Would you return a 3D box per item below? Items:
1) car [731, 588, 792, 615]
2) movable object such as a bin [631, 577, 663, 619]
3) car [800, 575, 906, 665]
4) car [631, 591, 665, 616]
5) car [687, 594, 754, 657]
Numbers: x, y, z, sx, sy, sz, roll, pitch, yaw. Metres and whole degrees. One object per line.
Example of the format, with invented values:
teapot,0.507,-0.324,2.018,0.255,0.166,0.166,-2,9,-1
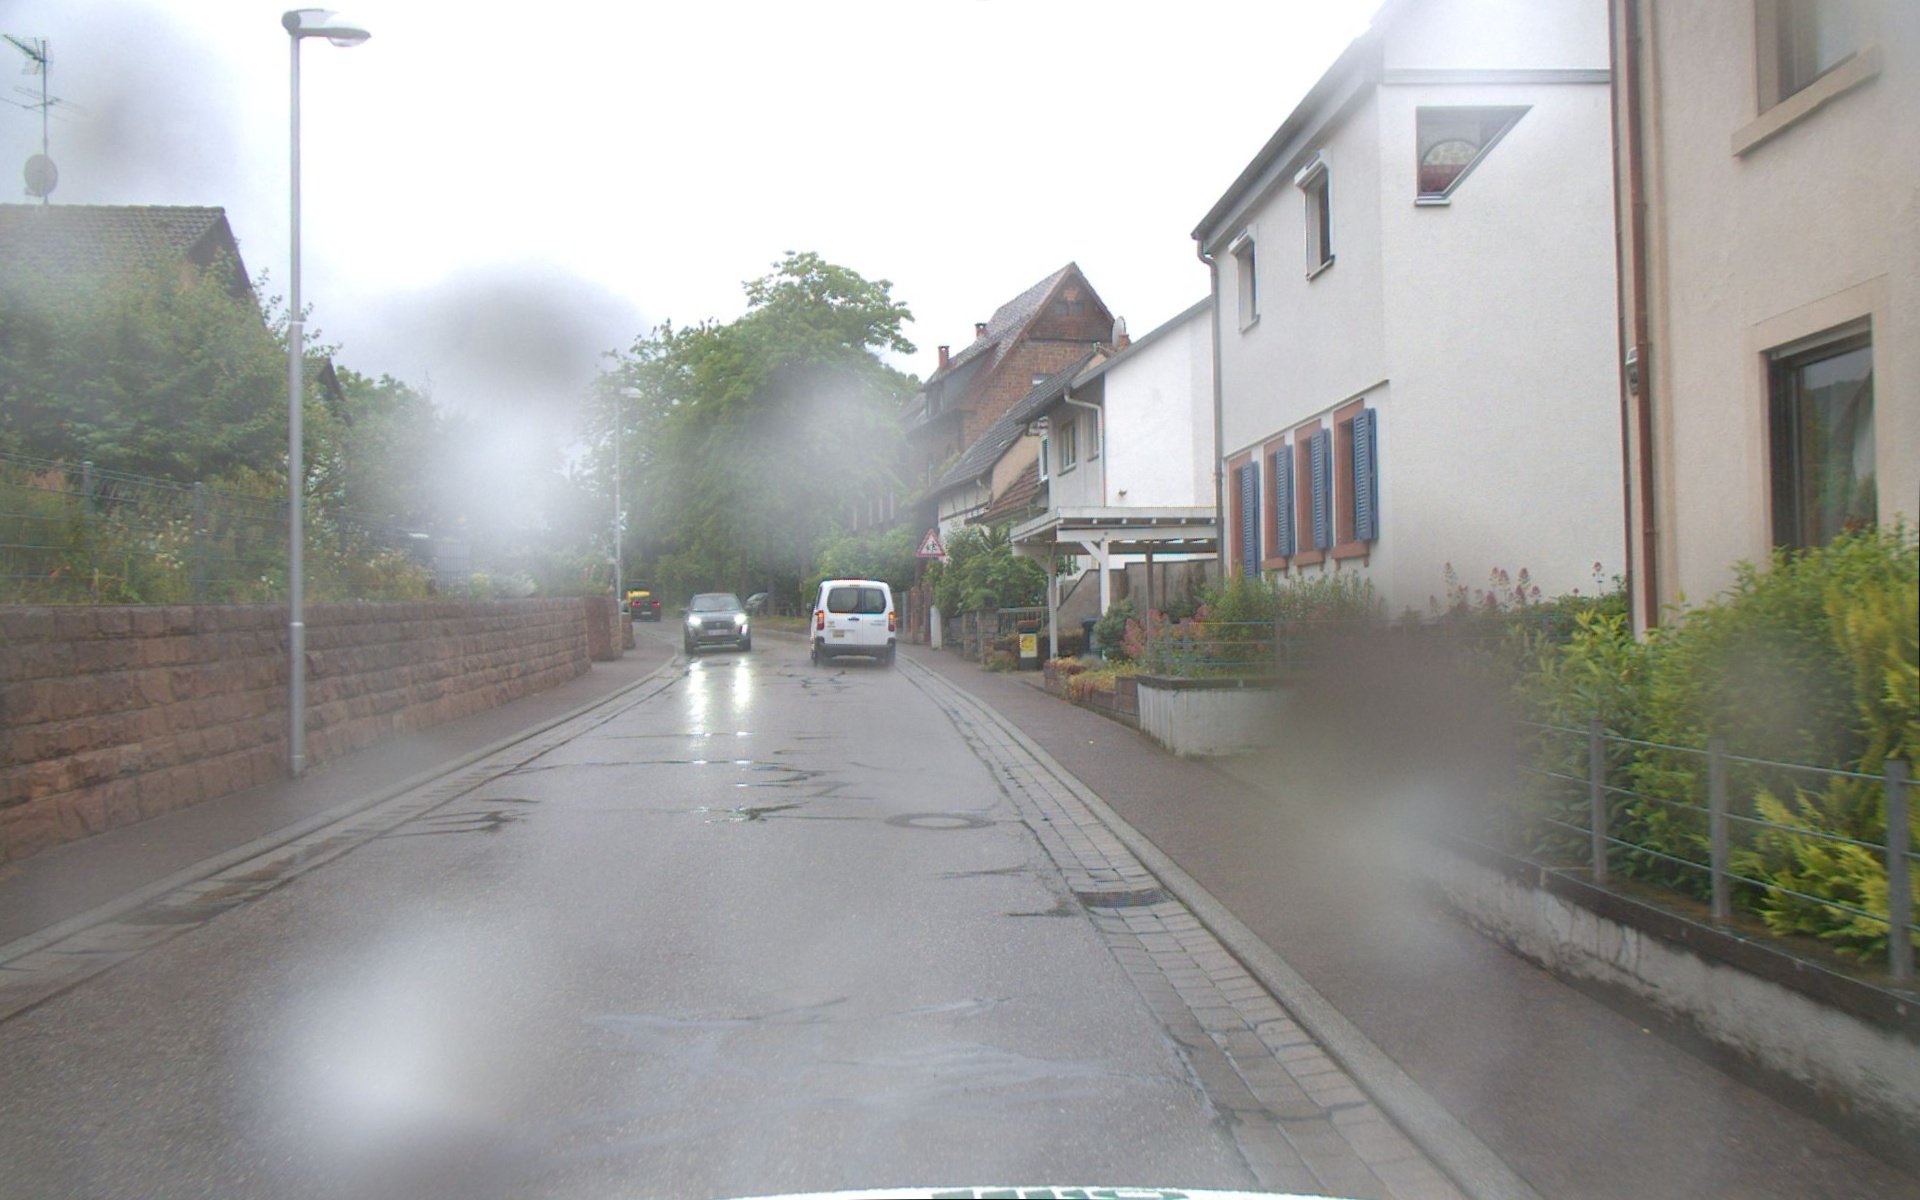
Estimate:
car,-11.948,0.110,99.563,1.590,1.578,3.598,-2,-1,37
movable object such as a bin,-20.040,-0.094,105.776,1.731,2.592,4.223,1,-1,-14
car,-2.435,0.405,36.729,1.863,1.838,3.989,-1,0,-11
car,-17.830,0.223,94.326,1.679,1.402,3.985,1,-1,-14
car,-6.576,0.659,45.168,1.669,1.573,3.842,-3,1,-9
